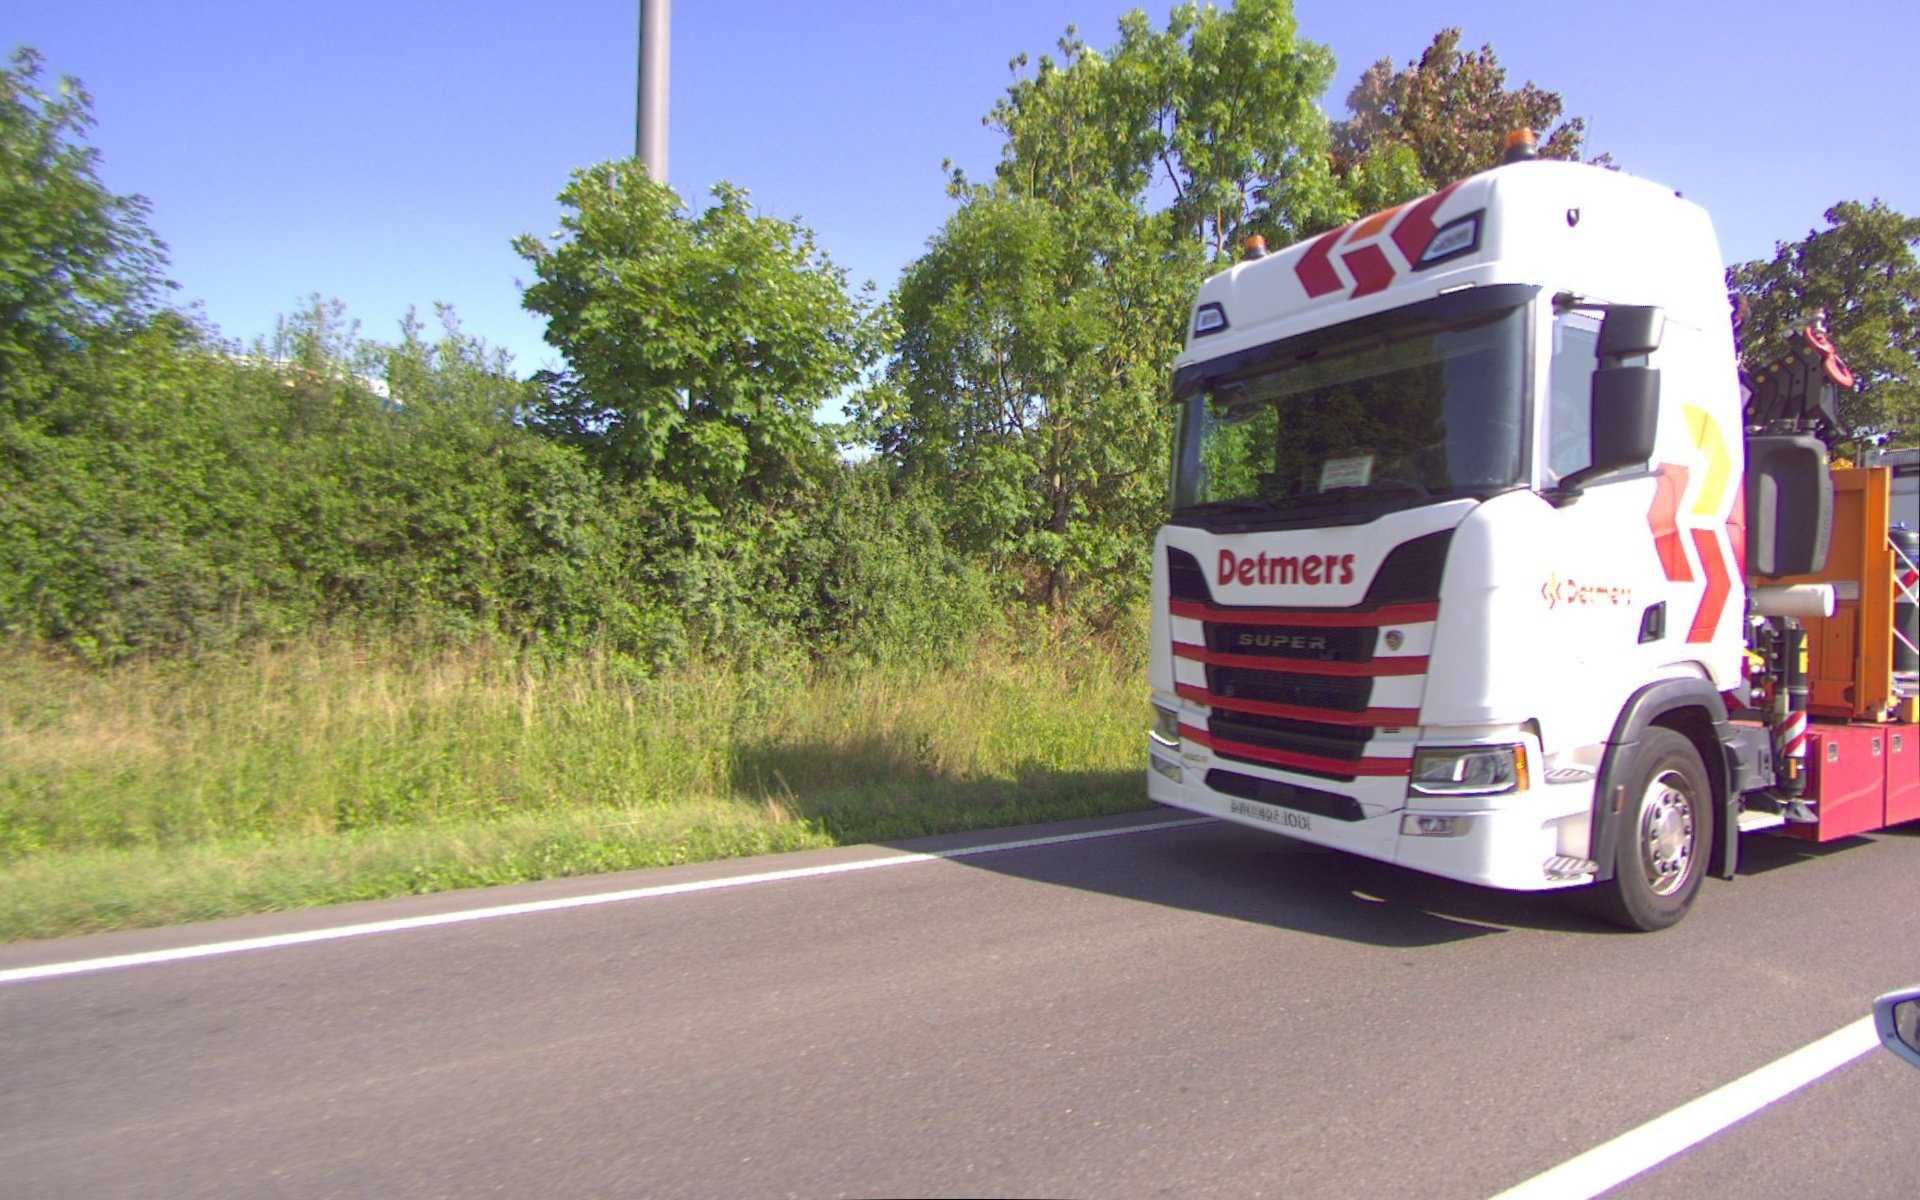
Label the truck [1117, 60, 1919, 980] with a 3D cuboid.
[{"bbox_3d":[6.075,-0.237,7.904,10.368,3.738,2.546,1,0,-32],"label":"truck"}]

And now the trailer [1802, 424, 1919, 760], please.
[{"bbox_3d":[14.038,-0.012,12.826,8.198,3.643,2.546,1,0,-32],"label":"trailer"}]
